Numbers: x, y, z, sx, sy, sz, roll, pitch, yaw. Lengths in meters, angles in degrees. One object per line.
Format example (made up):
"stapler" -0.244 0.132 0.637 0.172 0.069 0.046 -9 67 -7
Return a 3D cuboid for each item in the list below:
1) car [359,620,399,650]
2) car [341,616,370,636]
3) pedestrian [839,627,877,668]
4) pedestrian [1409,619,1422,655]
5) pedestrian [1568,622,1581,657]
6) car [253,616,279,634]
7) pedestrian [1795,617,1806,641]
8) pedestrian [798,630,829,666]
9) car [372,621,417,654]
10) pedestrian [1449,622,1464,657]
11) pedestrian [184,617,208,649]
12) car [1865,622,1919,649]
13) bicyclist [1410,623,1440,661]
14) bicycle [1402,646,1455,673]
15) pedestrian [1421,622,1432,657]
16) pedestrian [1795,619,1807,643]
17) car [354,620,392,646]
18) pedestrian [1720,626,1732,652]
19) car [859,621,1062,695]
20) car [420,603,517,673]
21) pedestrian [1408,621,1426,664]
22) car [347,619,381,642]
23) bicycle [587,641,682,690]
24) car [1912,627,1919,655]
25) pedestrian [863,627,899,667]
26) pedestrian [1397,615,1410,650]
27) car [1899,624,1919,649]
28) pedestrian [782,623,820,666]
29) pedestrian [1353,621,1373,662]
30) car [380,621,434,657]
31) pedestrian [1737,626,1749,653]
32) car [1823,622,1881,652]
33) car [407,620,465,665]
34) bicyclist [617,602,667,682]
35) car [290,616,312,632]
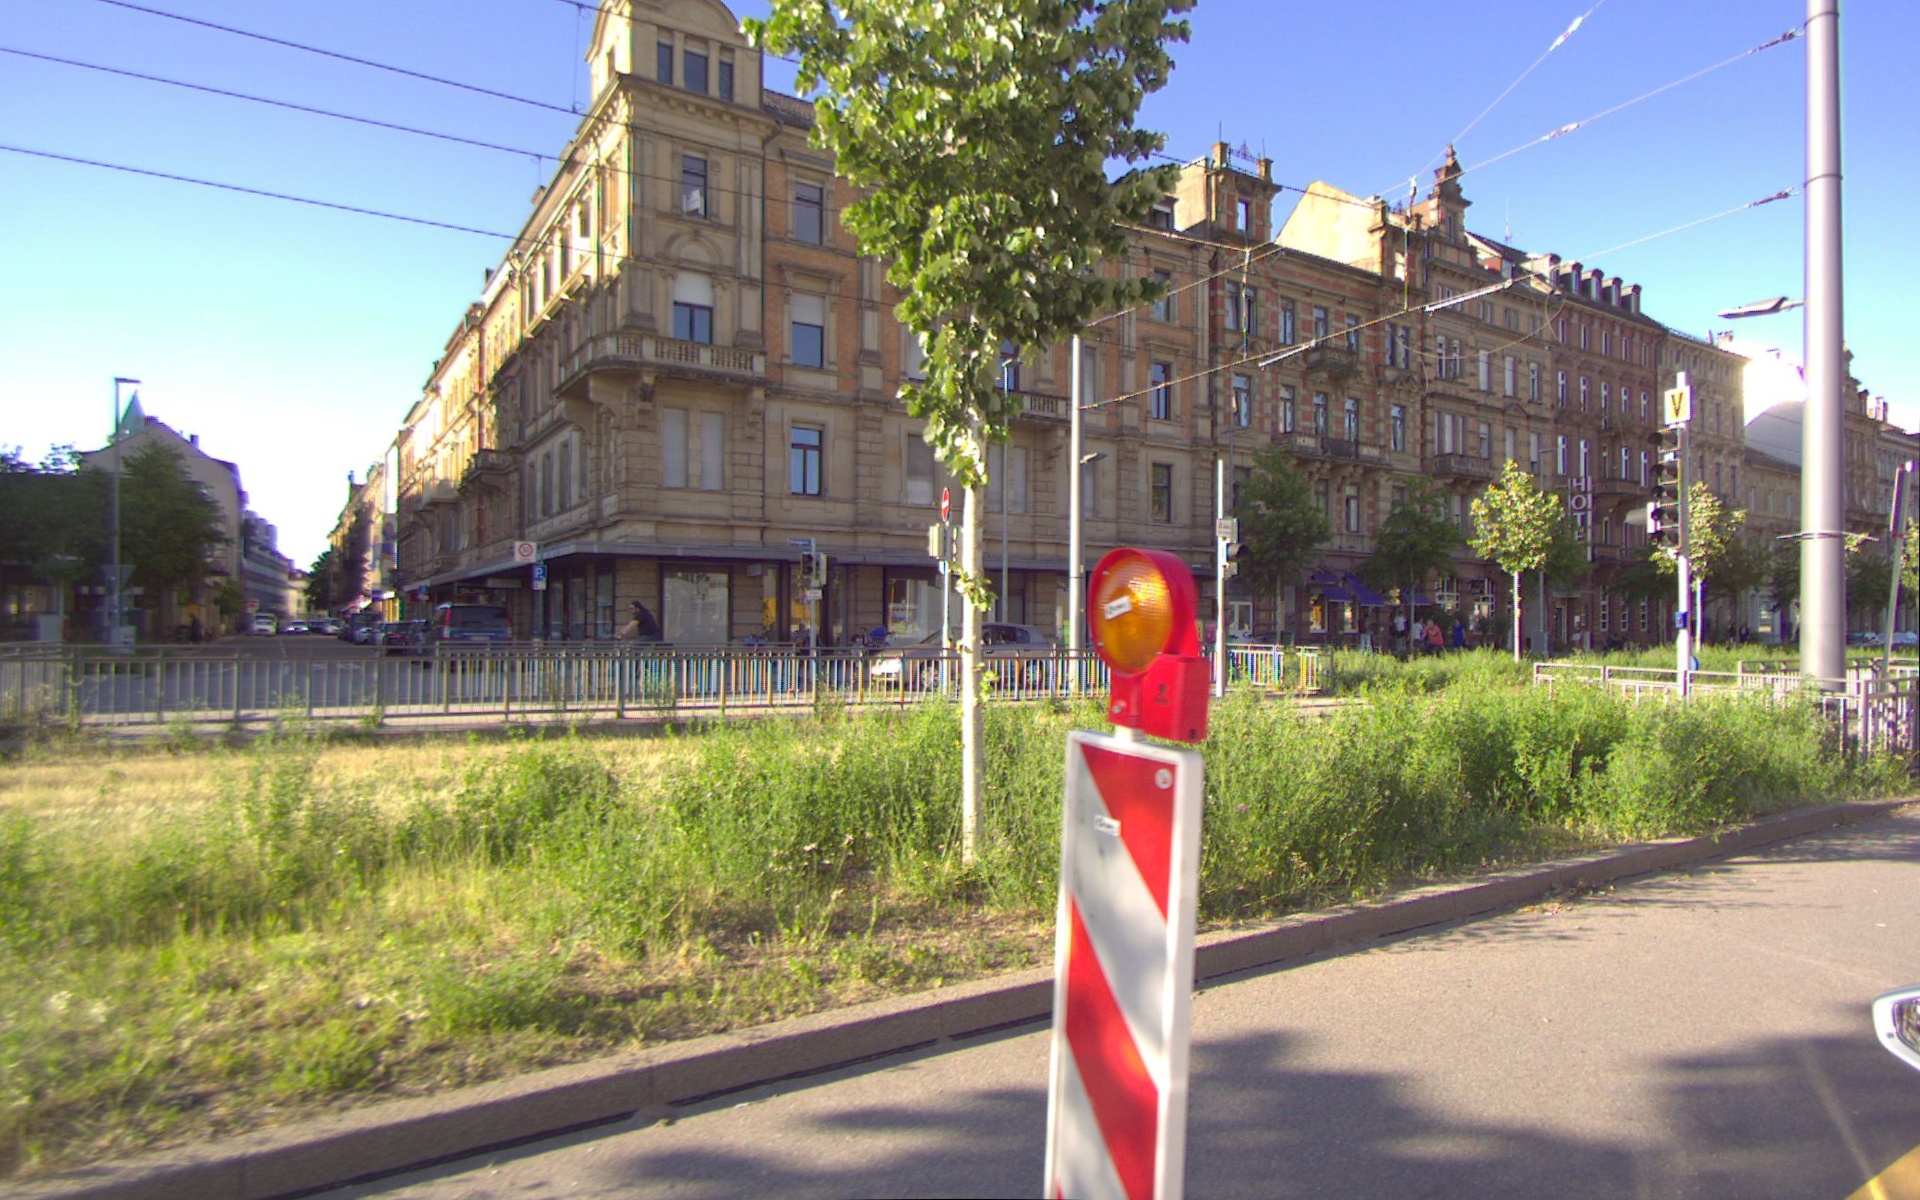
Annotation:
"car" -29.129 1.744 50.351 1.471 1.427 3.032 1 -2 -35
"car" -42.855 1.828 71.220 1.556 1.397 3.661 0 -1 -34
"pedestrian" -3.129 1.447 30.815 0.918 1.224 0.787 1 -1 -31
"pedestrian" 20.861 1.682 46.034 0.475 1.606 0.481 2 1 26
"pedestrian" 31.388 2.021 51.318 0.401 1.788 0.365 1 1 -32
"car" -63.376 2.270 91.723 1.839 1.595 3.961 1 -2 -35
"pedestrian" 55.547 1.939 66.355 0.430 1.555 0.403 1 1 -32
"pedestrian" -4.583 1.497 31.420 0.727 1.073 0.687 1 -1 -31
"car" -25.586 1.684 45.410 1.471 1.427 3.032 1 -2 -35
"pedestrian" 22.556 1.795 45.663 0.421 1.606 0.401 1 1 -32
"pedestrian" -36.351 1.577 47.793 0.726 1.536 0.613 1 -1 -25
"car" 57.637 2.152 61.923 4.662 1.583 1.558 1 -1 -32
"bicyclist" 15.880 1.424 34.290 0.730 1.256 0.634 1 -1 -31
"bicycle" 16.060 2.034 34.415 2.008 0.869 0.634 1 -1 -31
"pedestrian" 21.269 1.796 45.830 0.360 1.606 0.406 2 1 19
"pedestrian" 55.543 2.065 66.335 0.430 1.553 0.403 1 1 -32
"car" -32.308 1.800 55.250 1.490 1.428 3.016 1 -2 -36
"pedestrian" 47.602 2.429 62.403 0.381 1.606 0.431 1 1 -34
"car" 0.027 1.206 21.612 4.023 1.439 1.844 1 -2 -31
"car" -14.614 1.097 29.761 1.880 1.928 4.479 1 -2 -35
"pedestrian" 19.172 1.769 42.123 0.401 1.788 0.505 1 1 -31
"car" -37.791 1.941 63.669 1.584 1.427 3.329 2 -2 -35
"bicycle" -6.930 1.383 21.399 1.806 0.991 0.691 1 -1 -31
"car" 52.842 2.199 53.936 3.581 1.502 1.587 1 -1 -31
"pedestrian" -2.486 1.481 31.751 0.918 1.224 0.687 1 -1 -31
"pedestrian" 20.481 1.500 46.398 0.383 1.606 0.386 2 1 -1
"car" 62.965 2.373 65.385 4.663 1.583 1.558 1 -1 -33
"pedestrian" -4.783 1.343 30.176 0.918 1.263 0.687 1 -1 -31
"pedestrian" 16.289 1.678 40.635 0.527 1.606 0.484 1 1 -31
"car" -22.565 1.569 40.942 1.565 1.427 3.032 1 -2 -35
"pedestrian" 48.080 2.428 61.691 0.335 1.606 0.426 1 1 -30
"car" 51.795 2.130 58.298 3.766 1.697 1.558 1 -1 -32
"car" -18.328 1.454 35.077 1.370 1.488 3.123 1 -2 -35
"bicyclist" -6.800 0.889 21.487 0.872 1.679 0.691 1 -1 -31
"car" -68.240 2.496 103.976 1.850 1.662 3.962 1 -2 -34
